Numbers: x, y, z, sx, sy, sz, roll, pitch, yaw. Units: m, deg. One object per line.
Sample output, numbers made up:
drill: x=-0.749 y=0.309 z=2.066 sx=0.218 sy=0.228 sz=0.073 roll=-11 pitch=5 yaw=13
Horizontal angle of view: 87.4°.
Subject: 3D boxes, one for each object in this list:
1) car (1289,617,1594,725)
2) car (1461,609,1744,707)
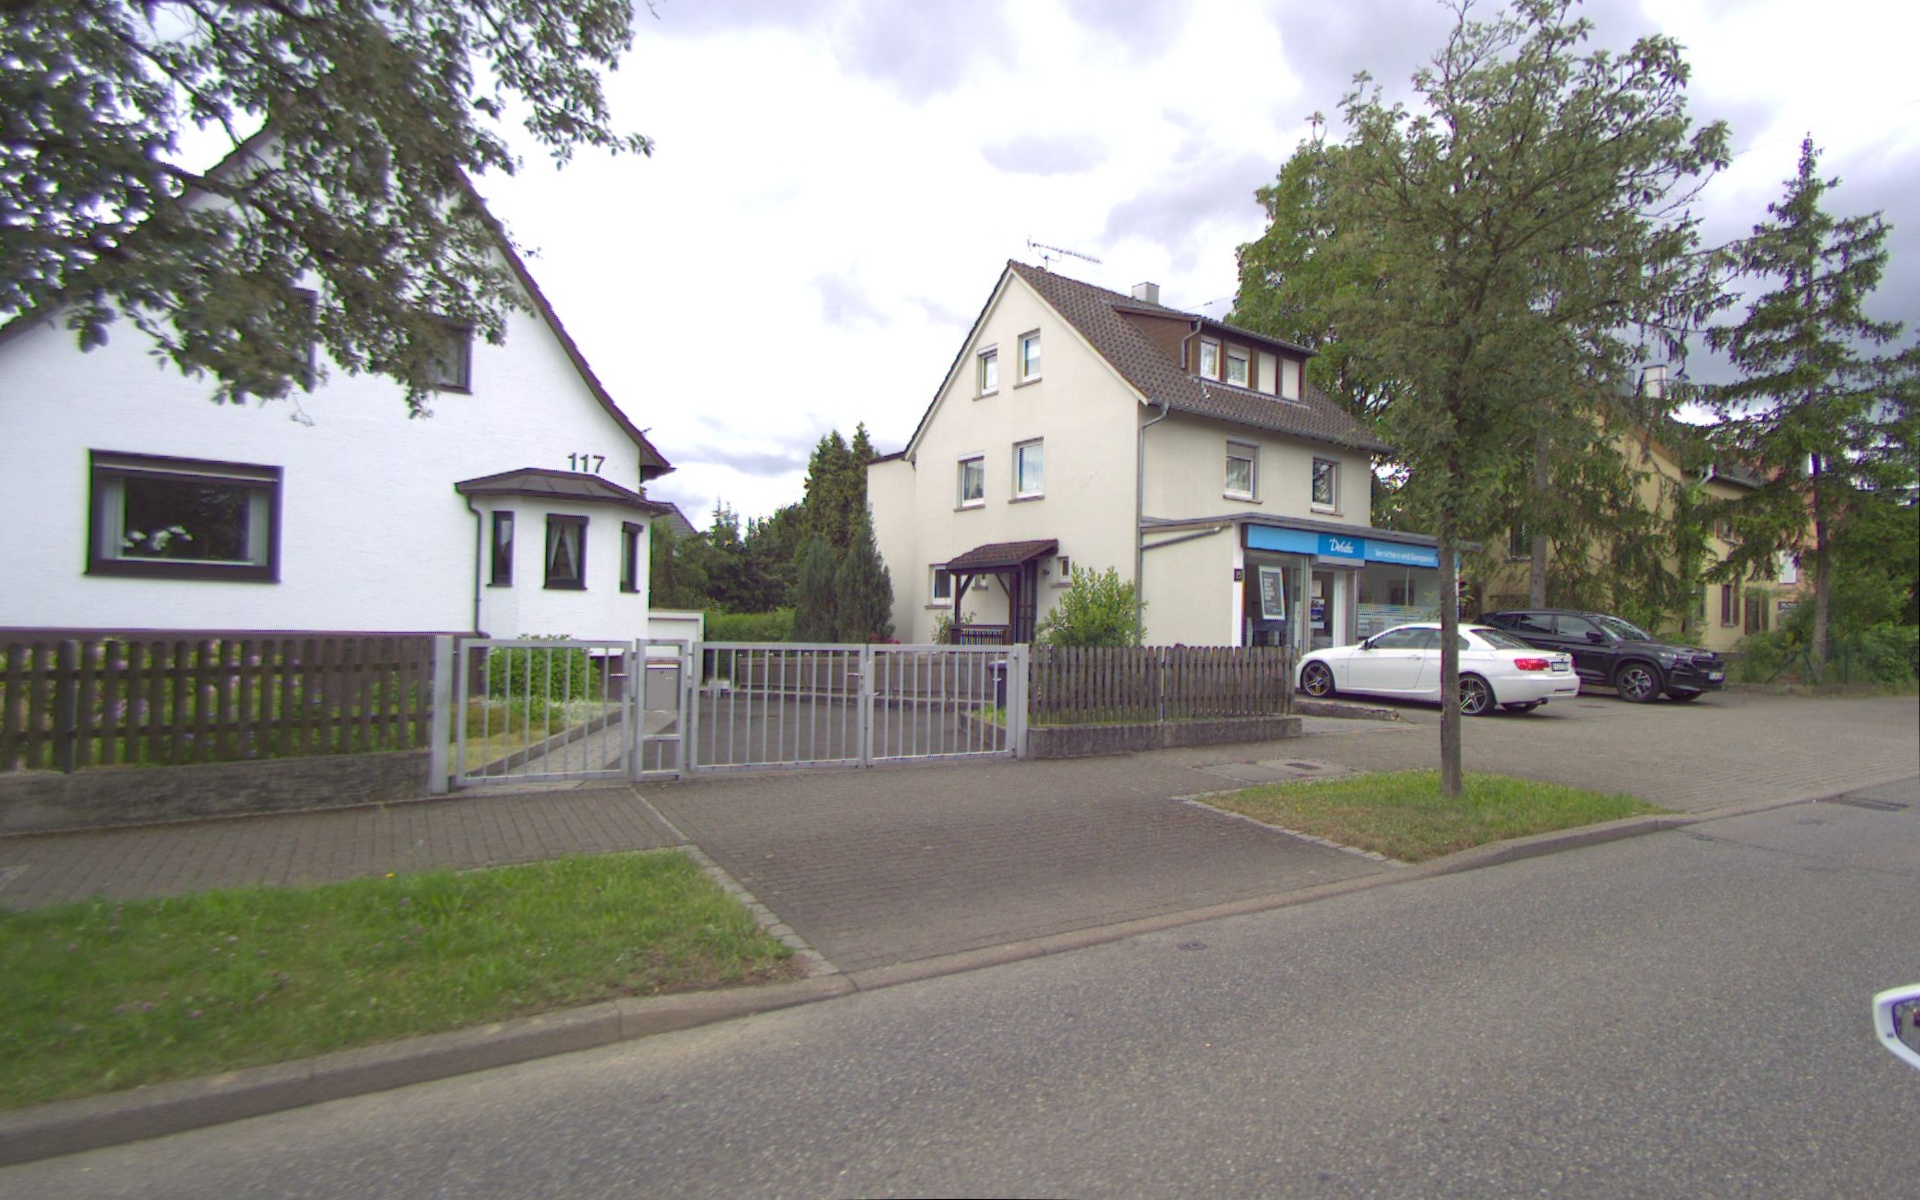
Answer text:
car: x=7.868 y=1.079 z=16.802 sx=1.799 sy=1.386 sz=4.248 roll=2 pitch=1 yaw=-36
car: x=12.529 y=1.059 z=19.903 sx=1.949 sy=1.639 sz=4.315 roll=2 pitch=0 yaw=-29
